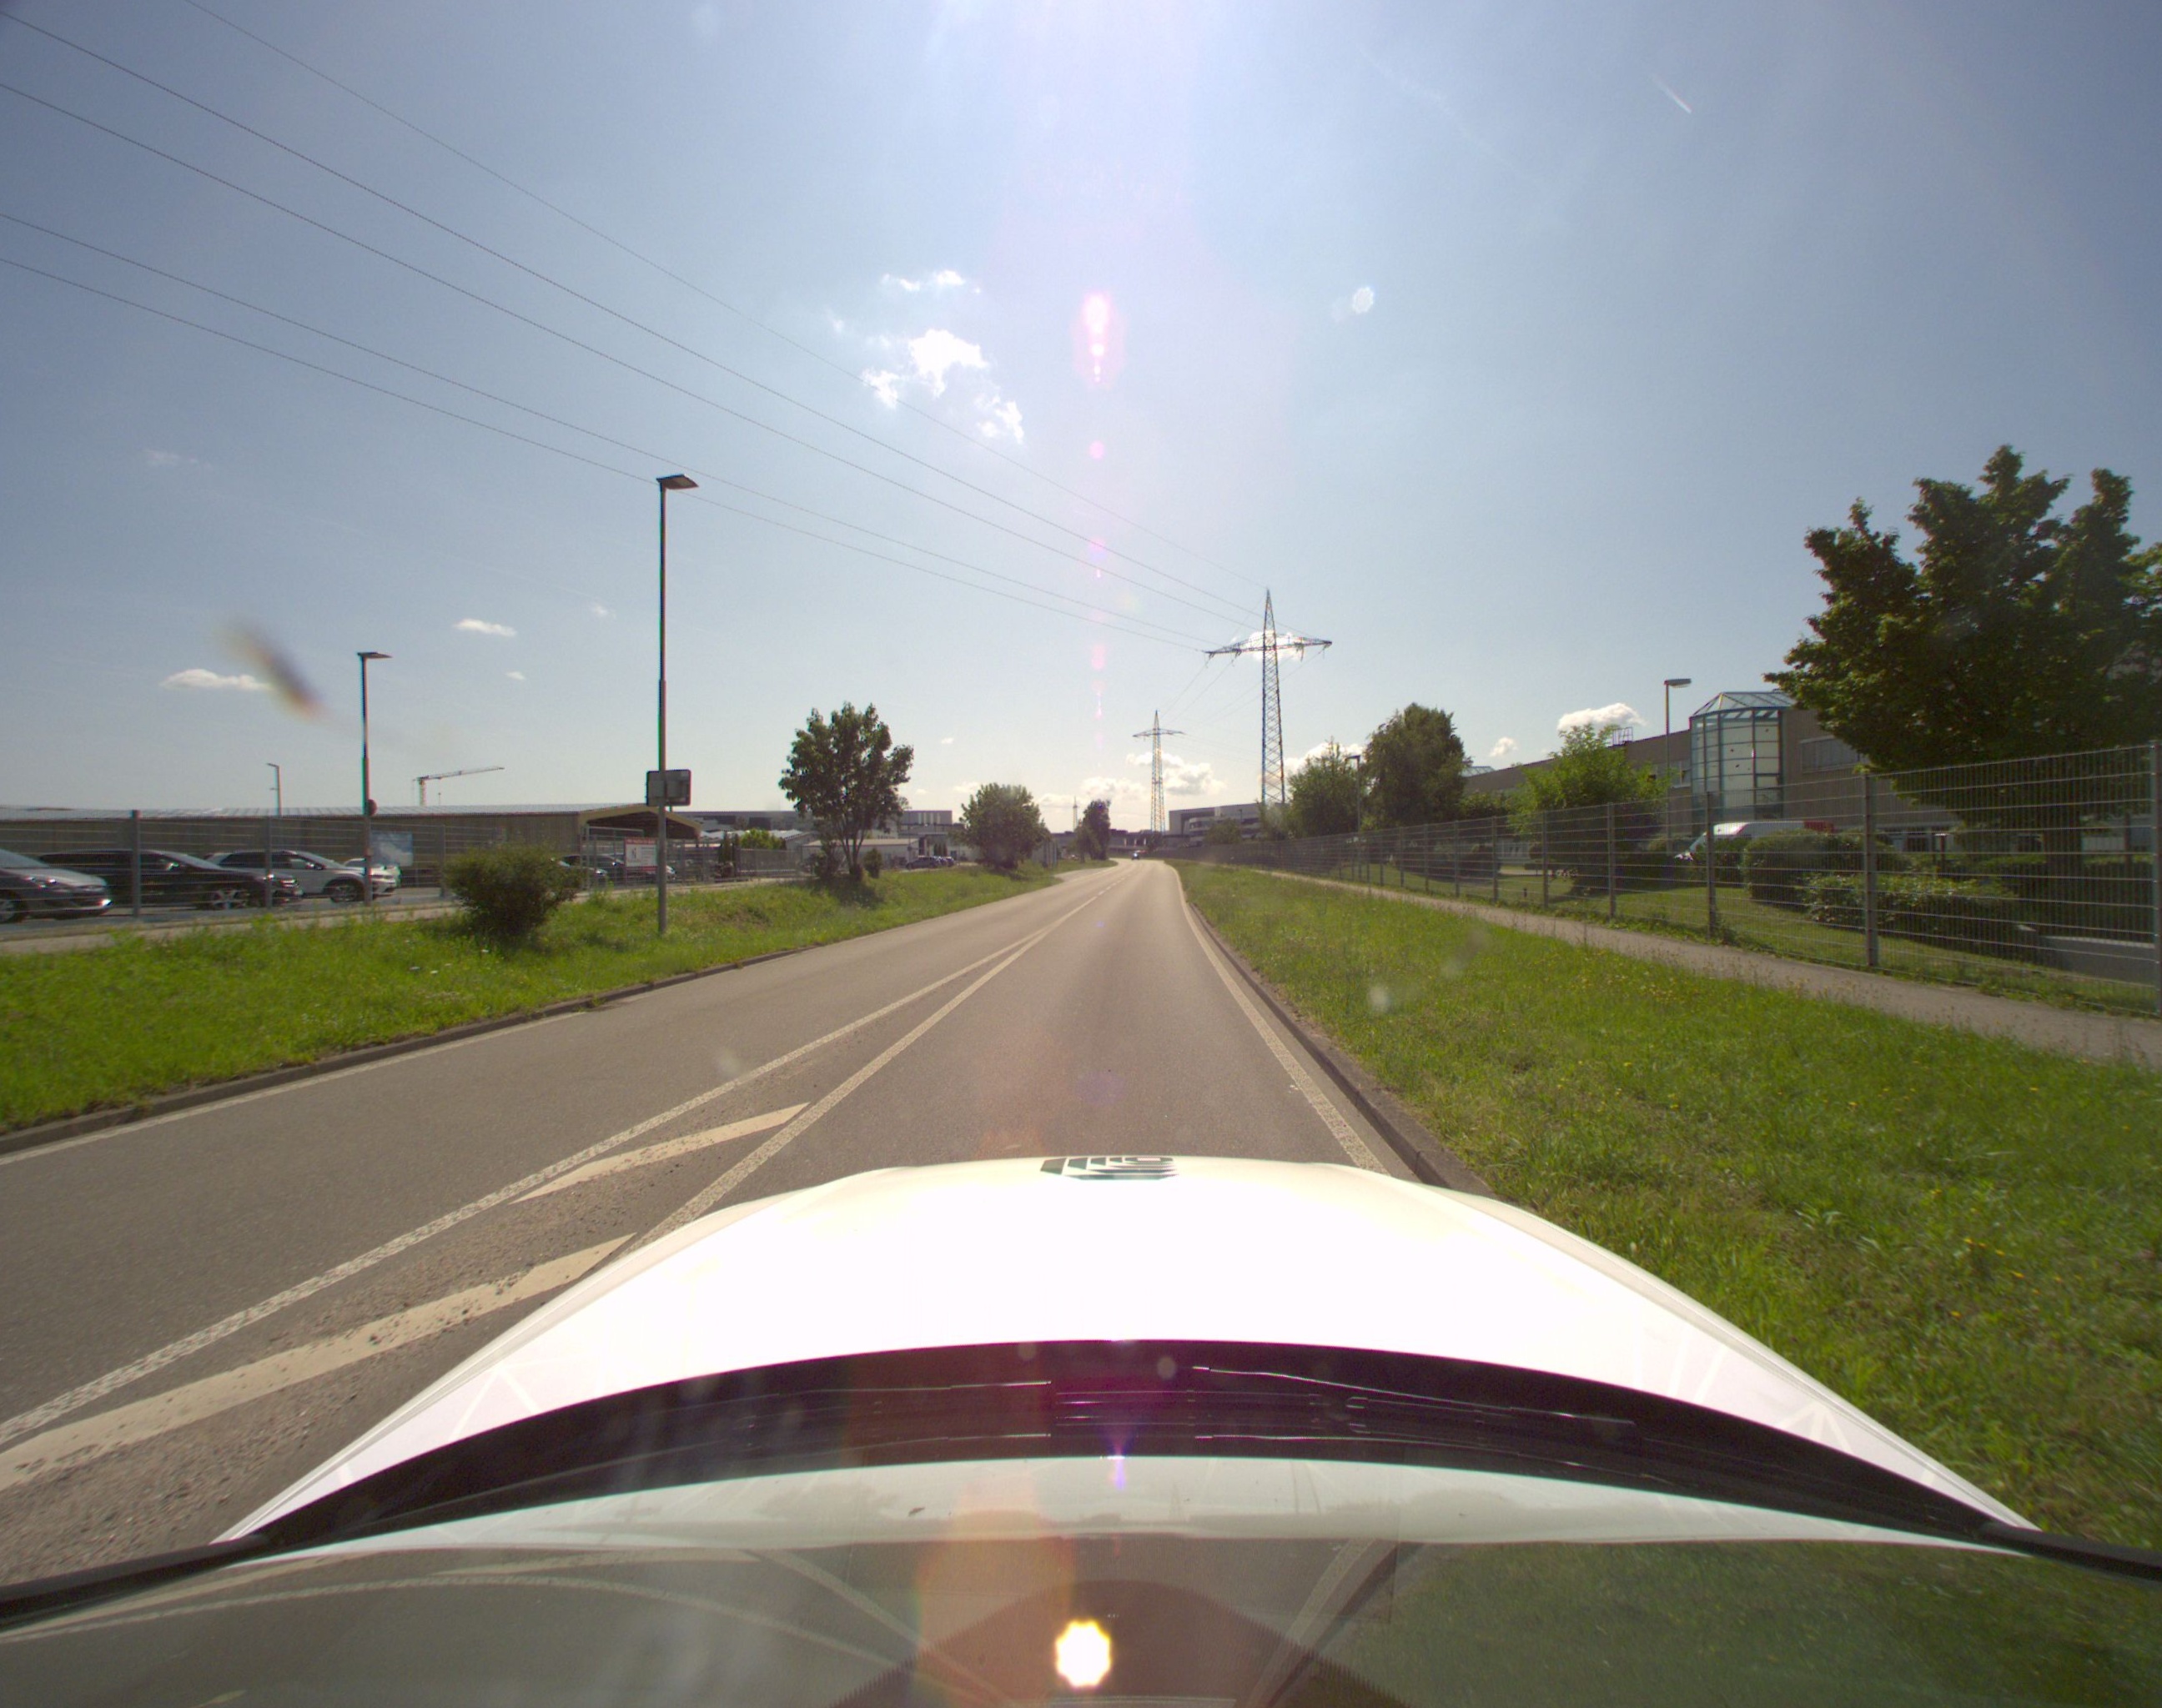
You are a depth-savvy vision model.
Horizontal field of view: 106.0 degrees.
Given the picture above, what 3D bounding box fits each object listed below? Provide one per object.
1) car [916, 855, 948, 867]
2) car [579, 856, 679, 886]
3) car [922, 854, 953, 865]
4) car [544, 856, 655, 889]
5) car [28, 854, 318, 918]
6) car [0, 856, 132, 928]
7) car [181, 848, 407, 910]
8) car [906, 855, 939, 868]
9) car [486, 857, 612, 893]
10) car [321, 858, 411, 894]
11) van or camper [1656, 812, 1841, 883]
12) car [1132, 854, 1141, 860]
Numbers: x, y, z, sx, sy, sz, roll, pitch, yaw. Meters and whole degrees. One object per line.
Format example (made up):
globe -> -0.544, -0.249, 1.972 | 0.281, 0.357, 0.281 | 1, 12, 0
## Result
car -> -20.239, 0.985, 110.798 | 3.975, 1.555, 1.665 | -1, 0, -1
car -> -21.198, 0.777, 38.360 | 4.010, 1.310, 1.925 | -1, 0, -28
car -> -20.657, 0.787, 117.354 | 3.975, 1.640, 1.999 | -1, 0, -1
car -> -20.697, 0.776, 35.191 | 4.010, 1.310, 1.925 | -1, 0, -28
car -> -20.643, 0.679, 18.794 | 4.008, 1.310, 1.926 | -1, 0, -26
car -> -21.080, 0.704, 15.146 | 4.010, 1.310, 1.925 | 0, 0, -28
car -> -21.131, 0.623, 22.133 | 4.010, 1.540, 1.925 | 0, 0, -28
car -> -20.663, 0.973, 106.407 | 3.975, 1.528, 1.999 | 0, 0, -1
car -> -20.859, 0.778, 32.142 | 4.010, 1.310, 1.925 | 0, 0, -28
car -> -32.328, 0.956, 36.955 | 2.004, 1.486, 4.212 | 0, 0, -26
van or camper -> 26.389, -0.230, 32.325 | 5.755, 2.518, 1.999 | 2, 0, -2
car -> 13.352, 0.698, 195.347 | 2.004, 1.508, 4.002 | -1, 0, 2
